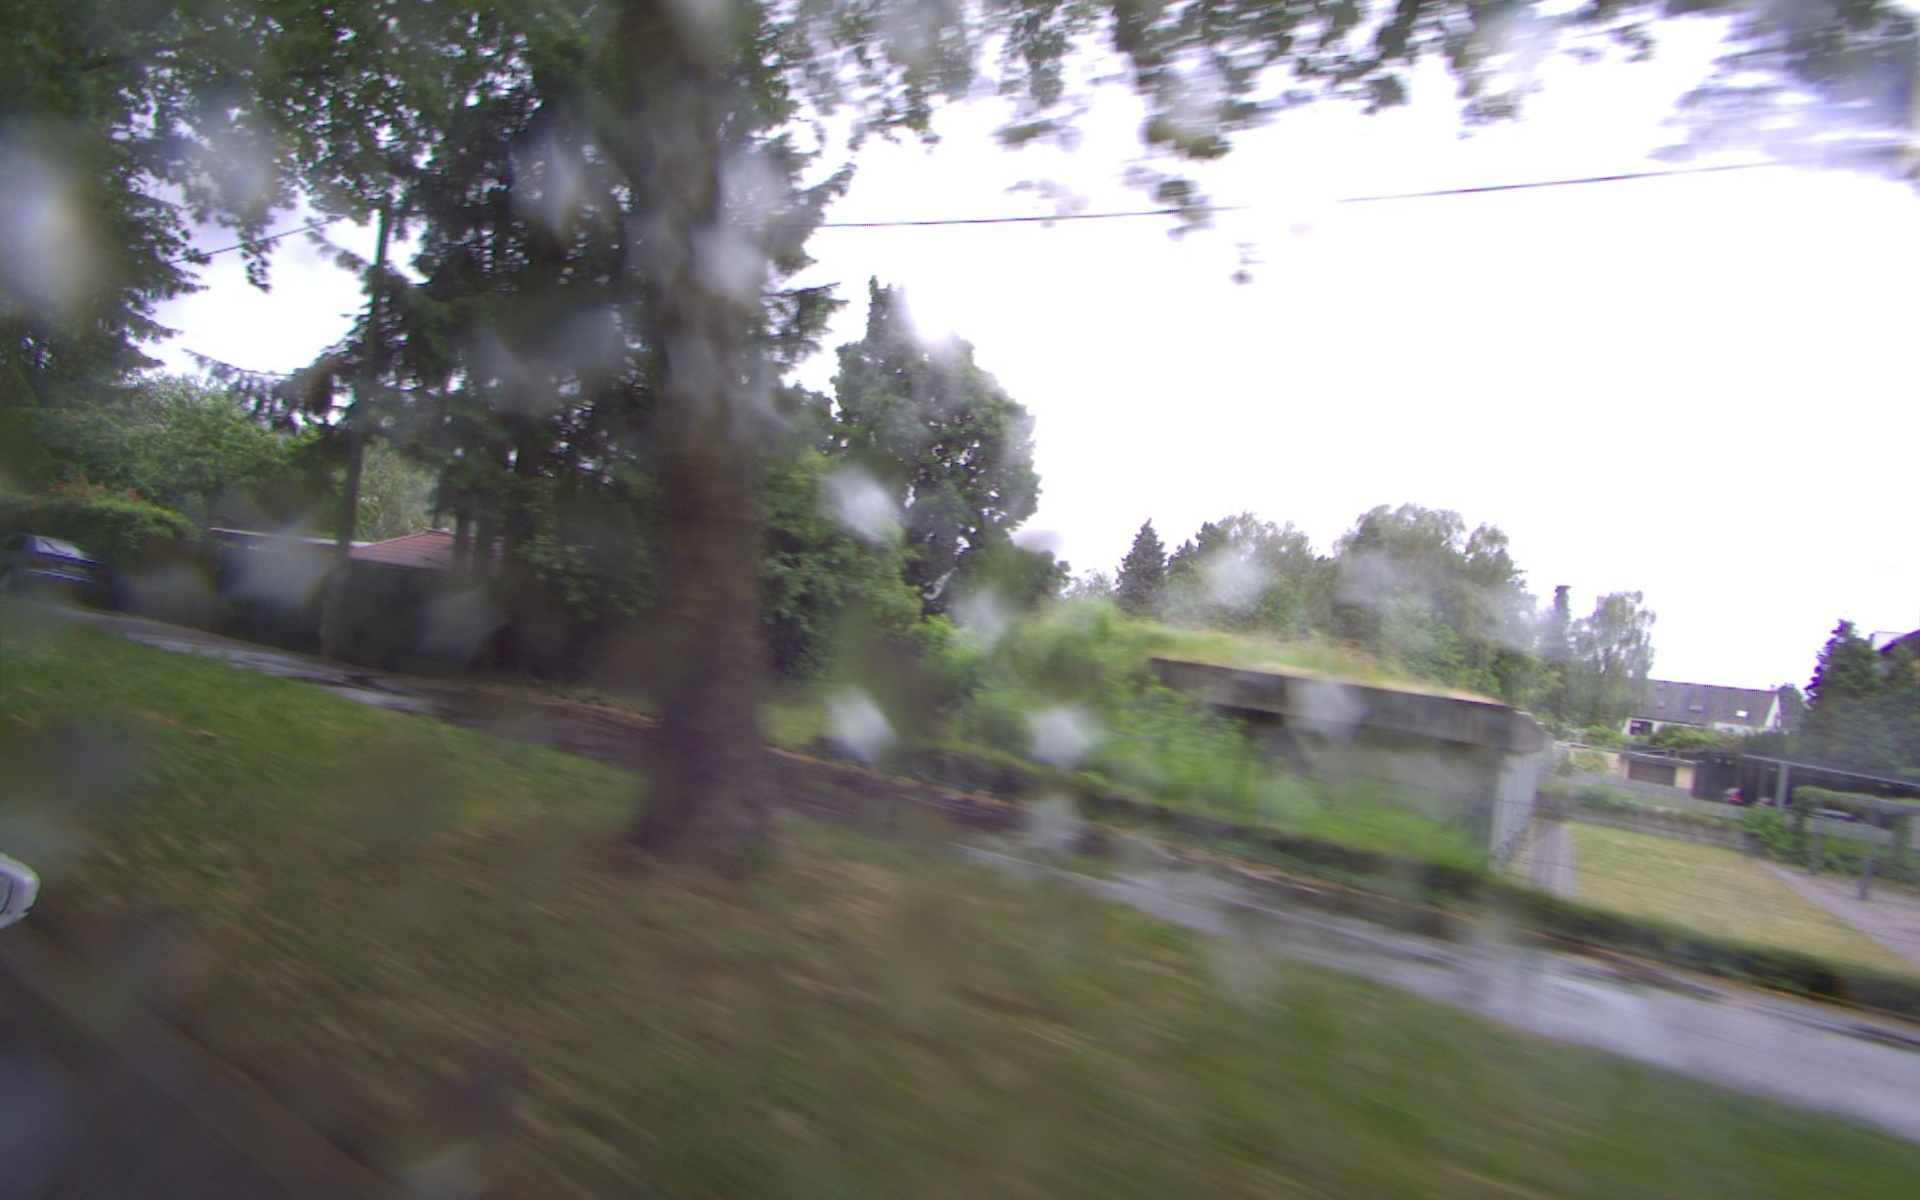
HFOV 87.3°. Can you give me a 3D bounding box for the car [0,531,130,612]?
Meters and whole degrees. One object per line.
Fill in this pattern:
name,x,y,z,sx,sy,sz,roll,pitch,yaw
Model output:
car,-21.355,-0.755,23.191,3.929,1.337,1.806,7,-7,26
